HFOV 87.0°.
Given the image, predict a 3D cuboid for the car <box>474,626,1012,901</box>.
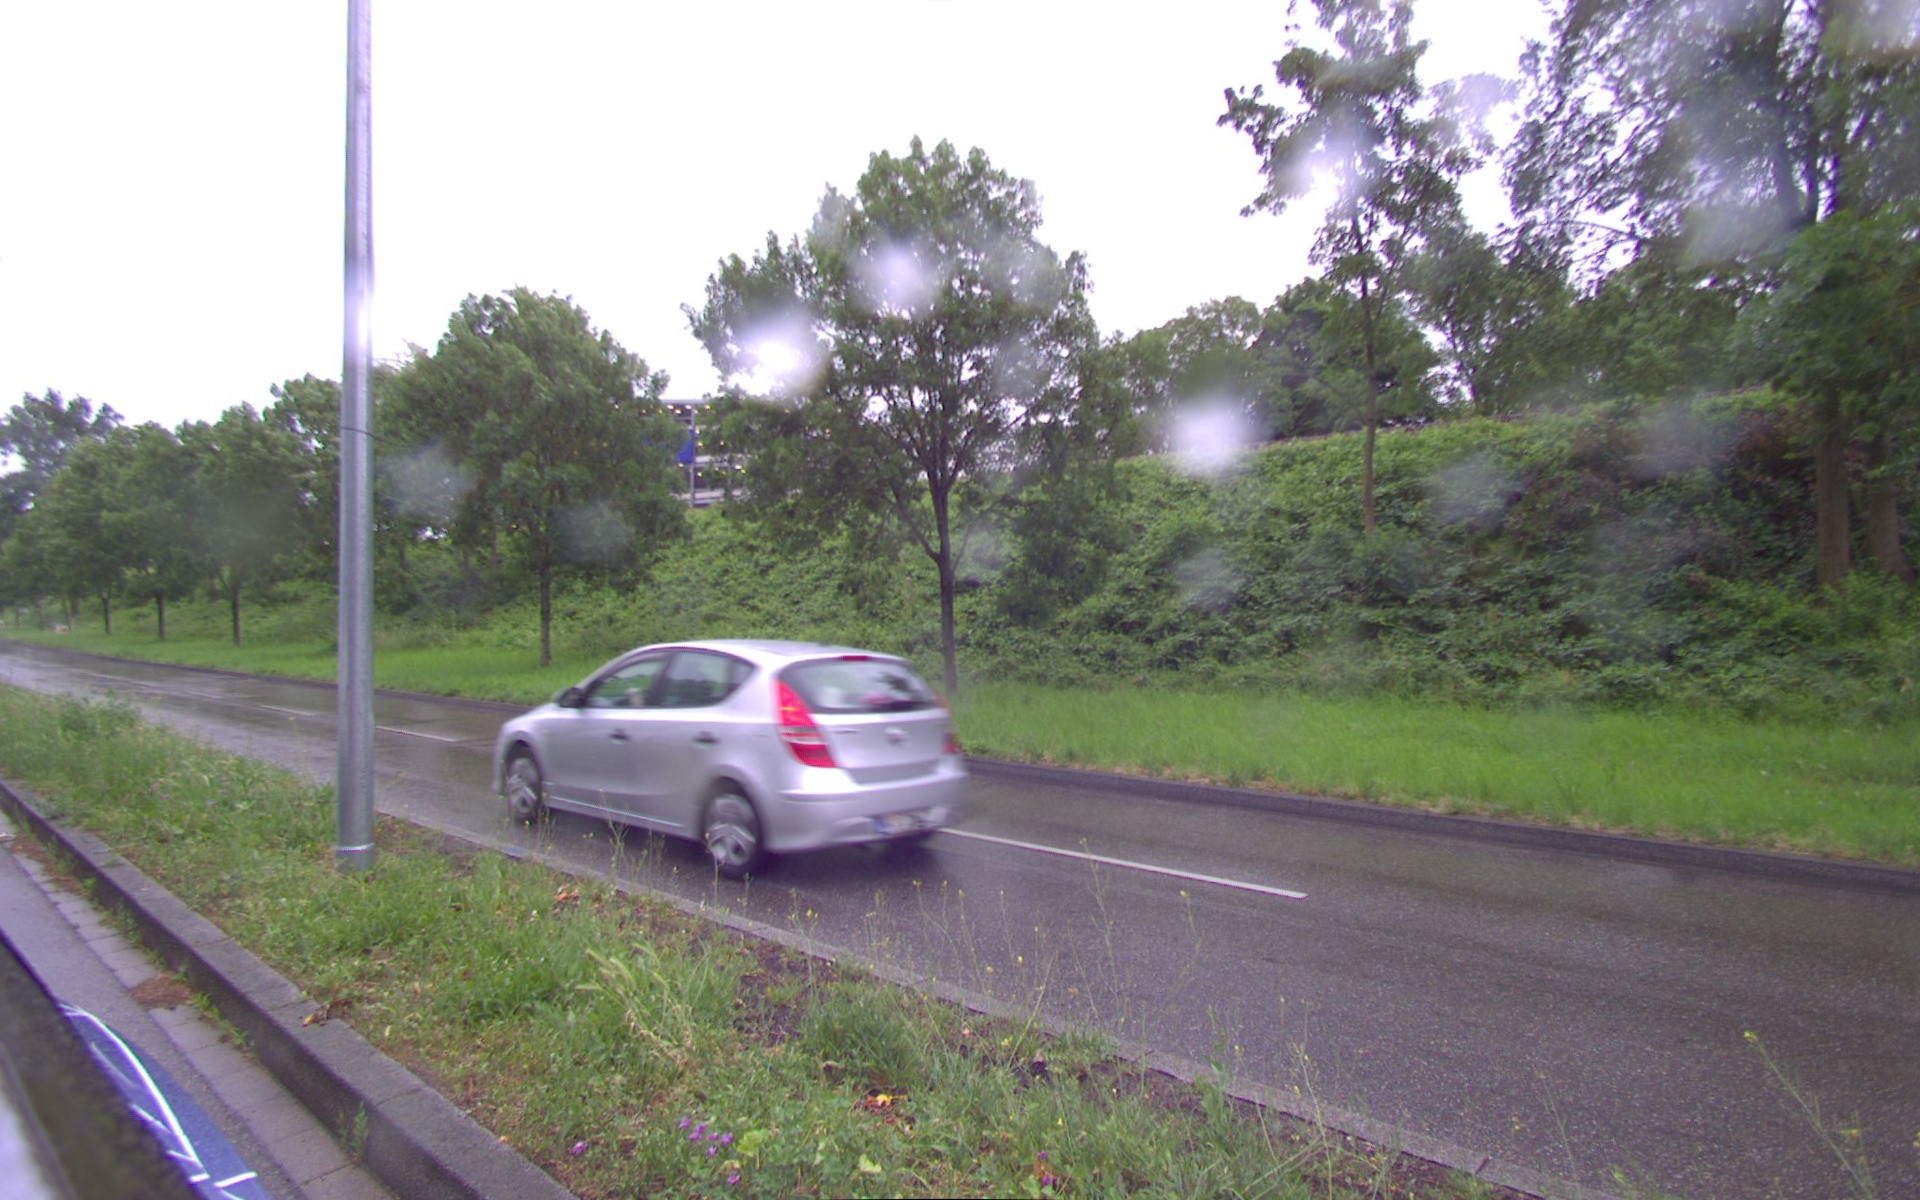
[{"bbox_3d":[-1.752,0.966,7.473,3.997,1.474,1.797,-1,-4,40],"label":"car"}]
